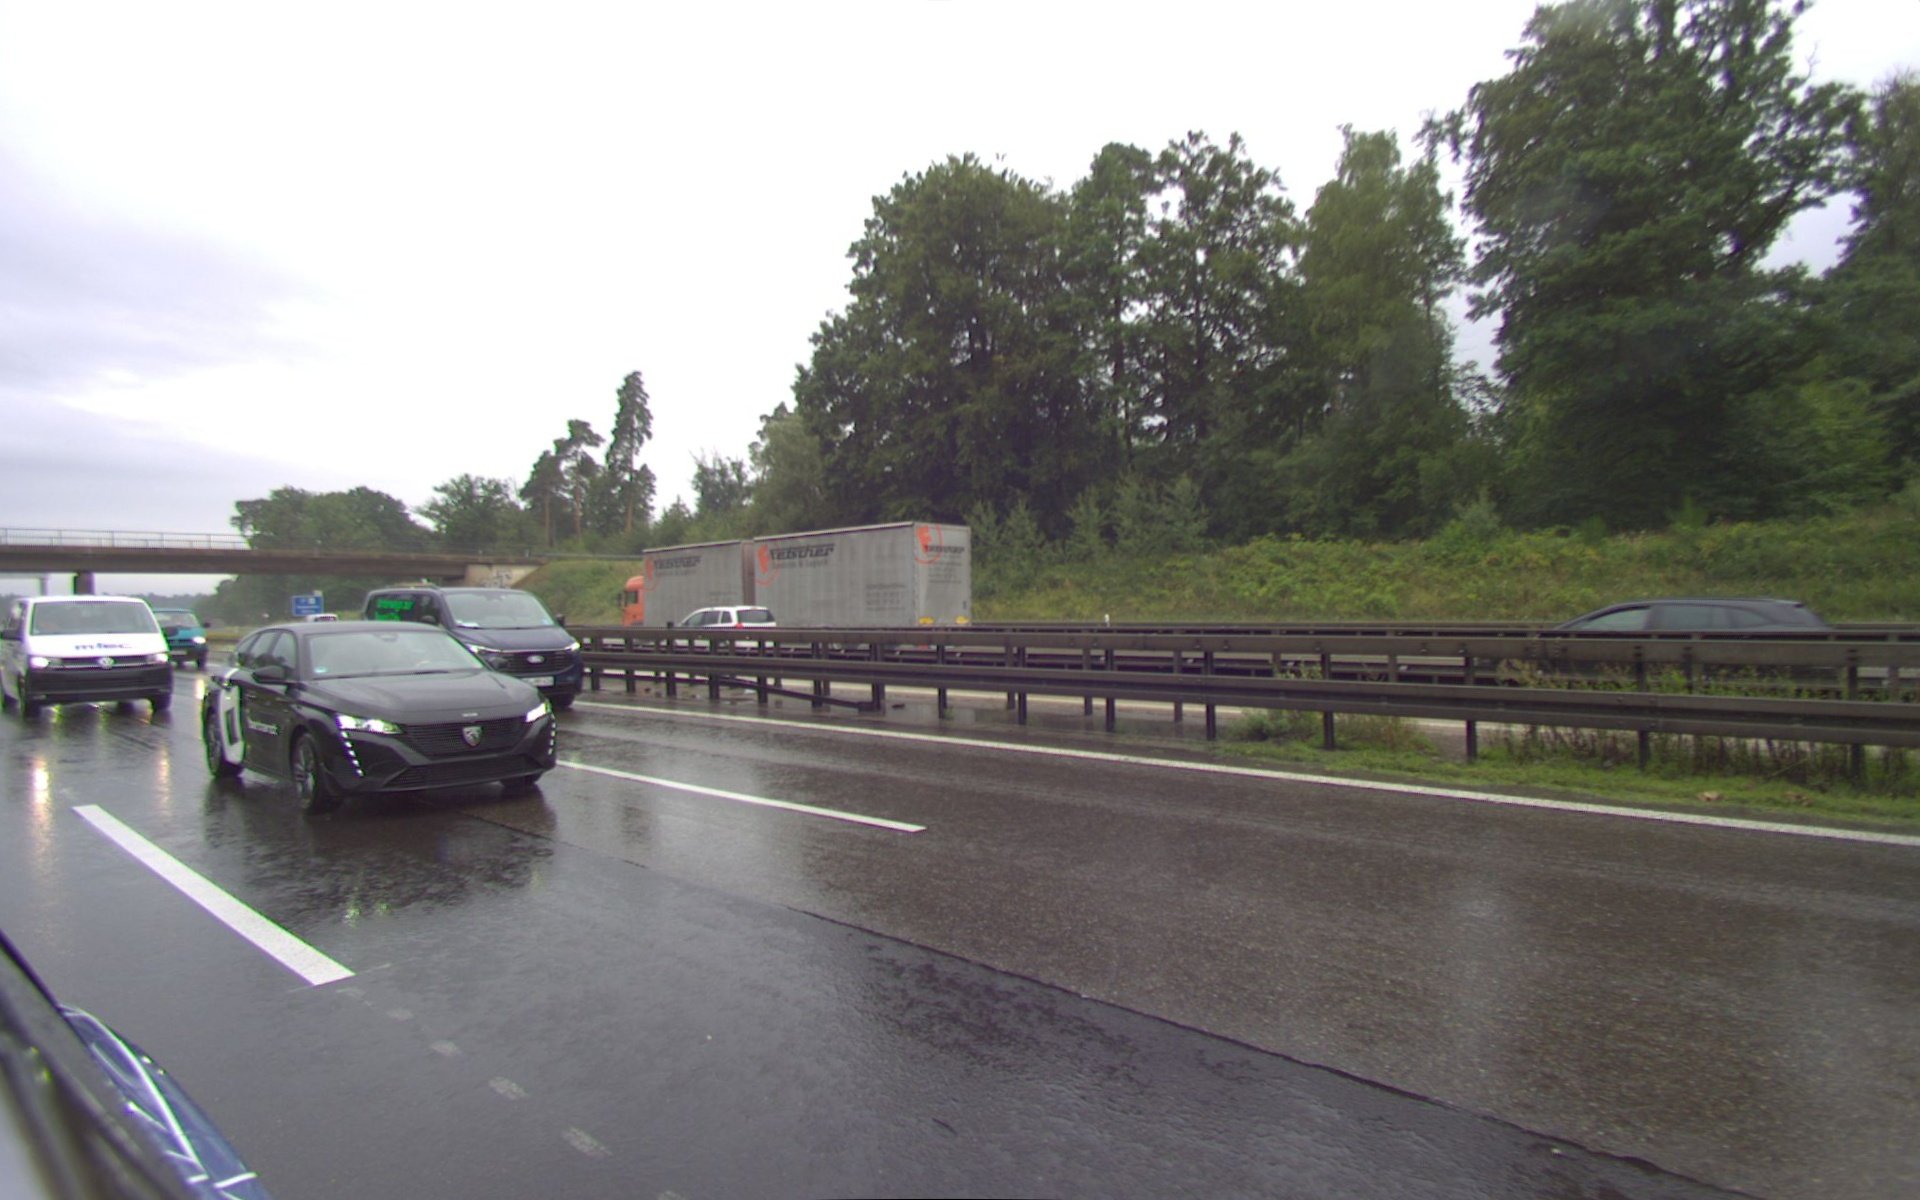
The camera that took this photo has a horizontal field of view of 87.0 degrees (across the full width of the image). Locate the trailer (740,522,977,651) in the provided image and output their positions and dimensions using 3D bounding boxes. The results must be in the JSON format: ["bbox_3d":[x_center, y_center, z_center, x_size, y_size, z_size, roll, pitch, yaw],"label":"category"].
[{"bbox_3d":[-3.674,-0.317,34.164,9.006,3.847,2.653,-2,-1,43],"label":"trailer"}]

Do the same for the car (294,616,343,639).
[{"bbox_3d":[-45.227,1.937,71.332,4.330,1.509,1.817,-2,-1,41],"label":"car"}]

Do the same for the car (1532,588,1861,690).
[{"bbox_3d":[10.768,0.538,14.975,3.754,1.314,1.684,-2,-1,41],"label":"car"}]

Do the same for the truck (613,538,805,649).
[{"bbox_3d":[-10.323,-0.138,40.624,10.032,3.961,2.673,-2,-1,45],"label":"truck"}]

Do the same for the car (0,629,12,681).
[{"bbox_3d":[-30.074,1.654,30.550,4.466,1.516,1.825,-1,-1,43],"label":"car"}]

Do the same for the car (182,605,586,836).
[{"bbox_3d":[-5.218,0.849,8.874,4.466,1.516,1.825,-2,-2,43],"label":"car"}]

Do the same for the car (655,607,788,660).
[{"bbox_3d":[-7.406,1.017,31.230,4.329,1.509,1.817,-2,-1,41],"label":"car"}]

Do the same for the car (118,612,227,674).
[{"bbox_3d":[-25.749,1.353,33.045,4.756,1.877,1.891,-1,0,40],"label":"car"}]

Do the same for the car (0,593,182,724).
[{"bbox_3d":[-14.826,0.898,17.029,4.767,1.894,1.968,-2,-1,43],"label":"car"}]

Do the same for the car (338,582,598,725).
[{"bbox_3d":[-8.112,0.767,16.400,5.241,1.958,1.970,-1,-1,42],"label":"car"}]
